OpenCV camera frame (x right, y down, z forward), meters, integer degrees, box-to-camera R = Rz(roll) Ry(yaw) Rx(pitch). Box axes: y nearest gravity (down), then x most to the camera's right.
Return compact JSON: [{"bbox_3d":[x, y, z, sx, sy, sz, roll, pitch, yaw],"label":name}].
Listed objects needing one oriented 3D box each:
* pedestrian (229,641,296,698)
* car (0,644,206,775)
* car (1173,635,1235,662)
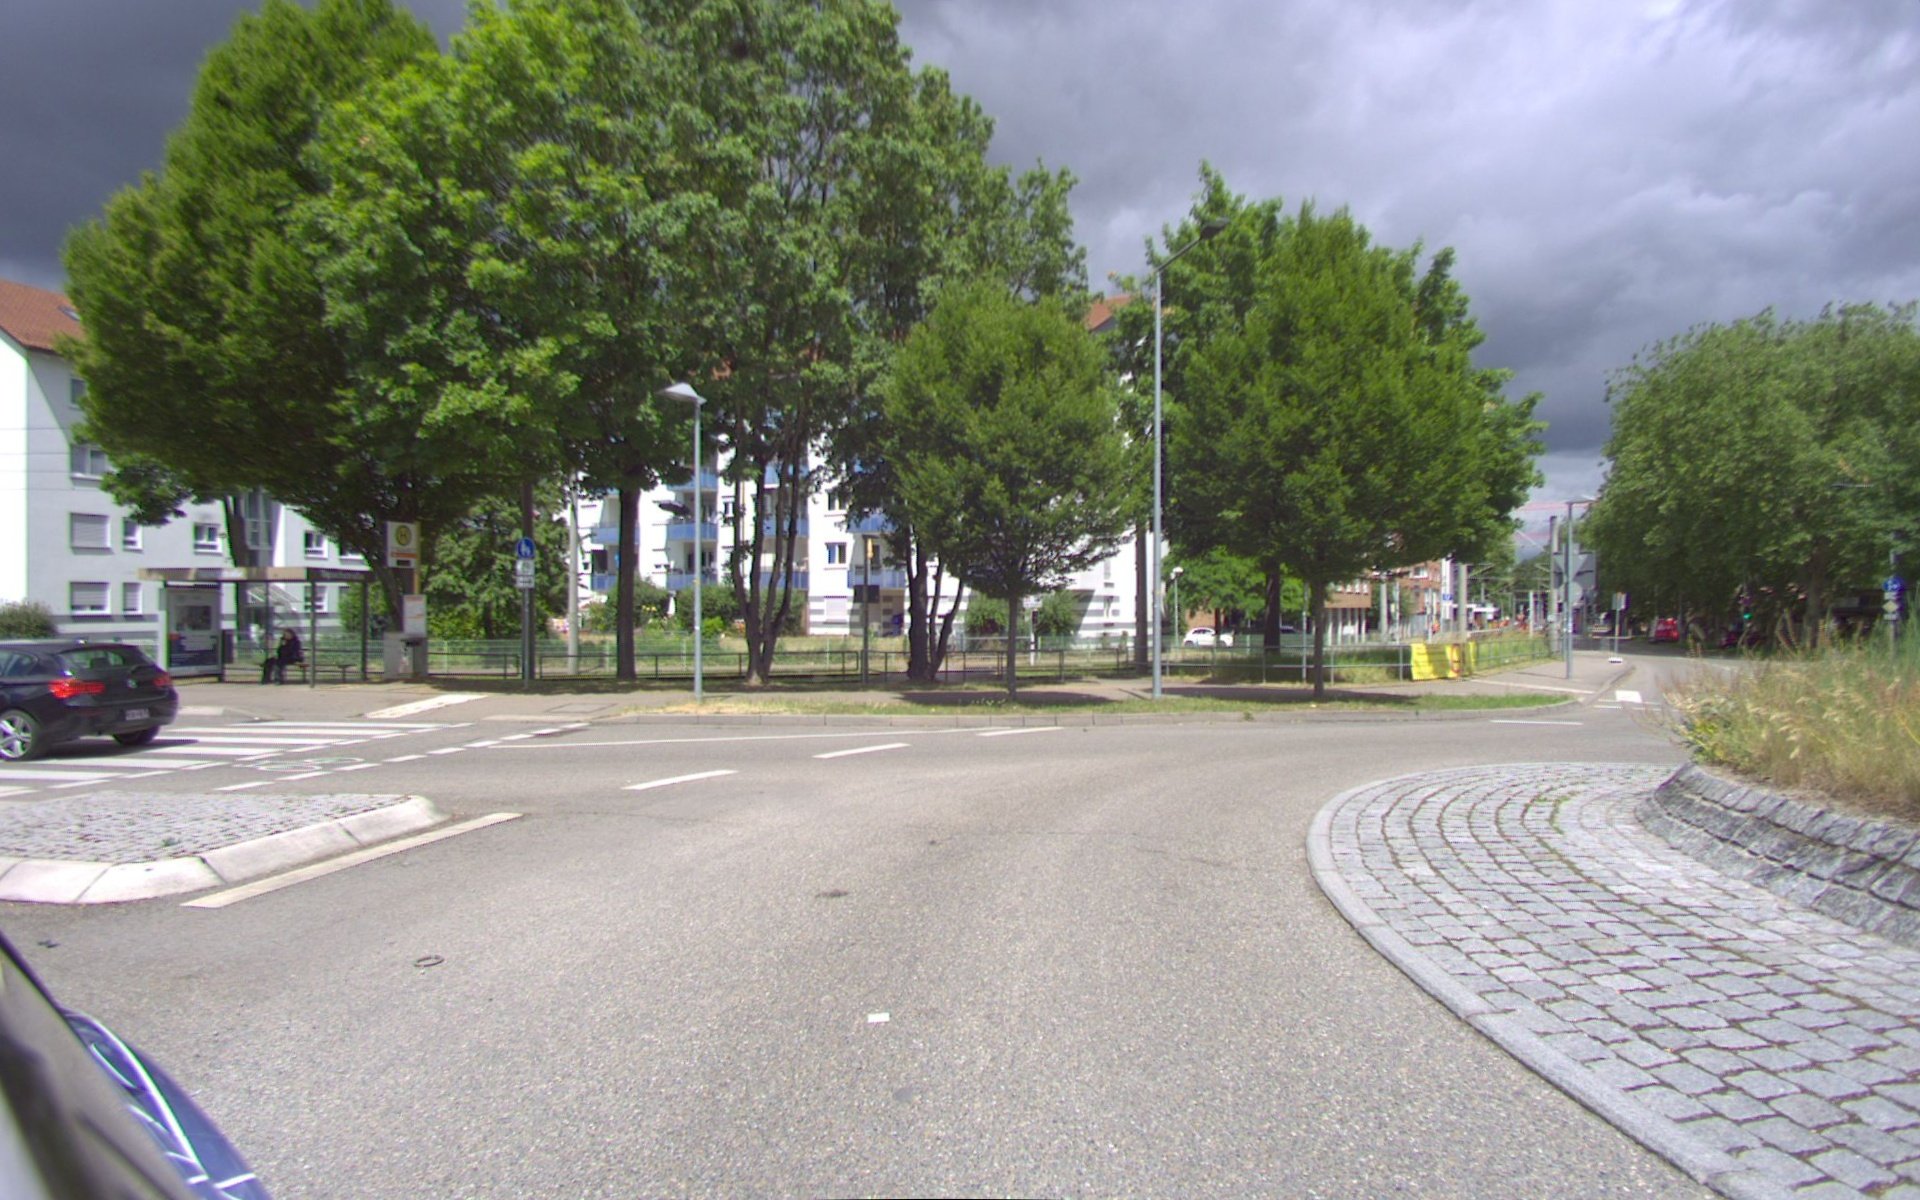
[{"bbox_3d":[-14.896,1.476,21.632,0.903,1.144,0.797,-1,0,14],"label":"pedestrian"},{"bbox_3d":[-12.529,1.363,13.076,4.331,1.466,1.857,-1,0,4],"label":"car"},{"bbox_3d":[17.427,3.421,72.332,3.979,1.822,1.982,-1,-1,27],"label":"car"}]
